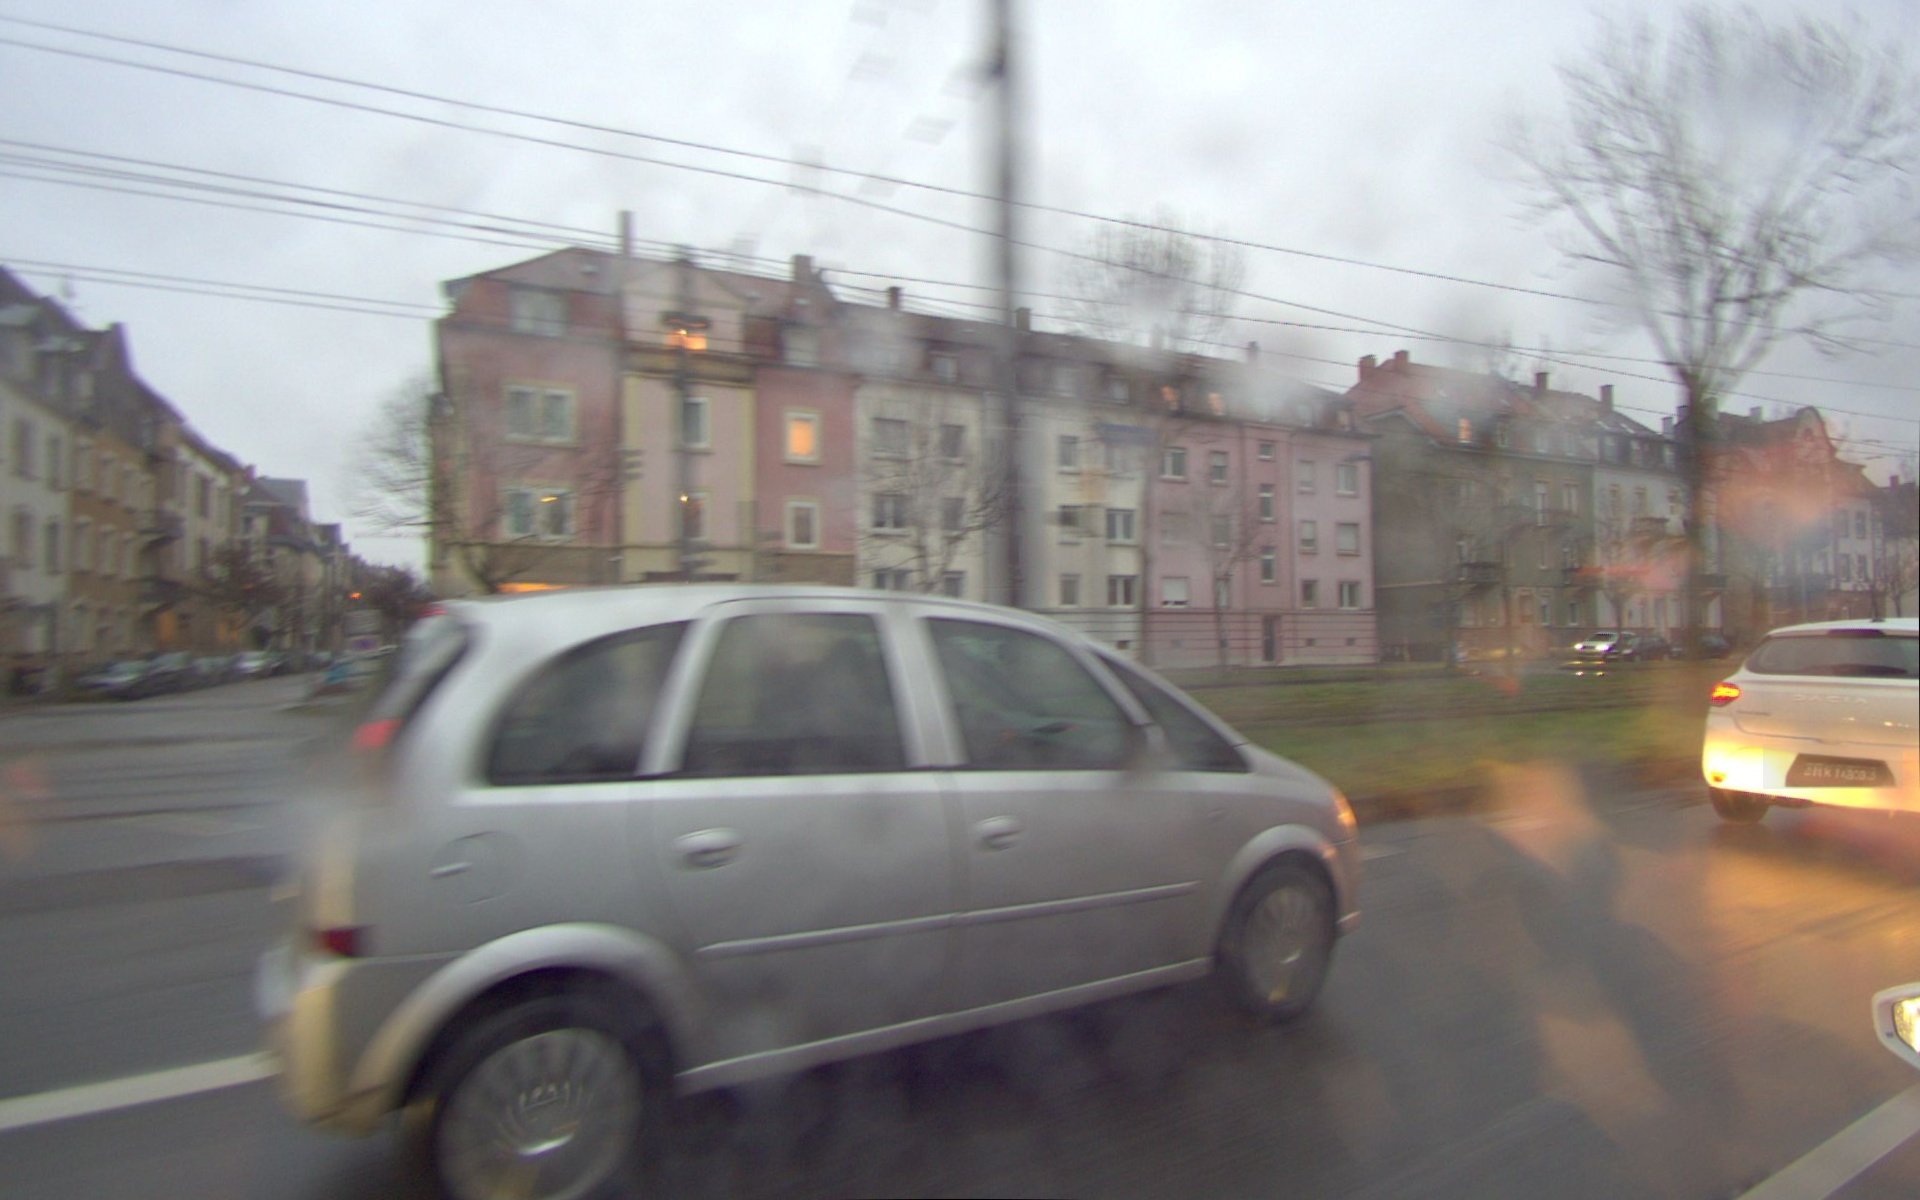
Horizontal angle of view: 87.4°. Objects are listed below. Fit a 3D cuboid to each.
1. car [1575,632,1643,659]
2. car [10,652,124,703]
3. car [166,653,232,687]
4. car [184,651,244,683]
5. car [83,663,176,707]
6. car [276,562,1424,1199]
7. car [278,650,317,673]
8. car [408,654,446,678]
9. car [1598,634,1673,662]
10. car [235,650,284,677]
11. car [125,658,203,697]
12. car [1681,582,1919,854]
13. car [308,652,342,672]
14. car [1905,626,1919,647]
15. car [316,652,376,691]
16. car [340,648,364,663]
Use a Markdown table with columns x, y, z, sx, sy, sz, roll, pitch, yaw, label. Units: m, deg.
| x | y | z | sx | sy | sz | roll | pitch | yaw | label |
| --- | --- | --- | --- | --- | --- | --- | --- | --- | --- |
| 37.591 | 2.641 | 58.218 | 3.511 | 1.519 | 1.770 | 0 | -3 | -27 | car |
| -29.118 | 2.486 | 32.902 | 1.771 | 1.505 | 3.974 | 0 | -3 | -26 | car |
| -35.945 | 3.298 | 47.552 | 1.771 | 1.505 | 3.974 | 0 | -3 | -26 | car |
| -38.109 | 3.393 | 51.394 | 1.771 | 1.505 | 3.974 | 0 | -3 | -26 | car |
| -31.050 | 3.136 | 37.673 | 1.771 | 1.505 | 3.974 | 0 | -3 | -26 | car |
| -0.202 | 0.781 | 3.941 | 4.009 | 1.621 | 1.799 | 1 | -2 | -32 | car |
| -47.140 | 4.363 | 71.537 | 1.771 | 1.505 | 3.974 | 0 | -3 | -26 | car |
| -33.538 | 4.132 | 63.264 | 1.973 | 1.438 | 3.975 | 0 | -2 | -26 | car |
| 35.191 | 2.510 | 52.343 | 3.511 | 1.372 | 1.770 | 0 | -3 | -27 | car |
| -41.241 | 3.708 | 59.241 | 1.771 | 1.505 | 3.974 | 0 | -3 | -26 | car |
| -33.408 | 3.211 | 42.267 | 1.771 | 1.505 | 3.974 | 0 | -3 | -26 | car |
| 7.287 | 0.737 | 7.332 | 4.002 | 1.621 | 1.666 | 1 | -2 | -28 | car |
| -49.906 | 4.870 | 79.047 | 1.771 | 1.505 | 4.632 | 0 | -3 | -26 | car |
| 63.717 | 2.357 | 65.132 | 1.746 | 1.372 | 3.560 | -2 | -3 | 7 | car |
| -24.919 | 2.875 | 40.837 | 1.977 | 1.438 | 3.967 | 1 | -2 | -31 | car |
| -61.987 | 5.669 | 102.468 | 1.771 | 1.505 | 3.974 | 0 | -3 | -26 | car |
